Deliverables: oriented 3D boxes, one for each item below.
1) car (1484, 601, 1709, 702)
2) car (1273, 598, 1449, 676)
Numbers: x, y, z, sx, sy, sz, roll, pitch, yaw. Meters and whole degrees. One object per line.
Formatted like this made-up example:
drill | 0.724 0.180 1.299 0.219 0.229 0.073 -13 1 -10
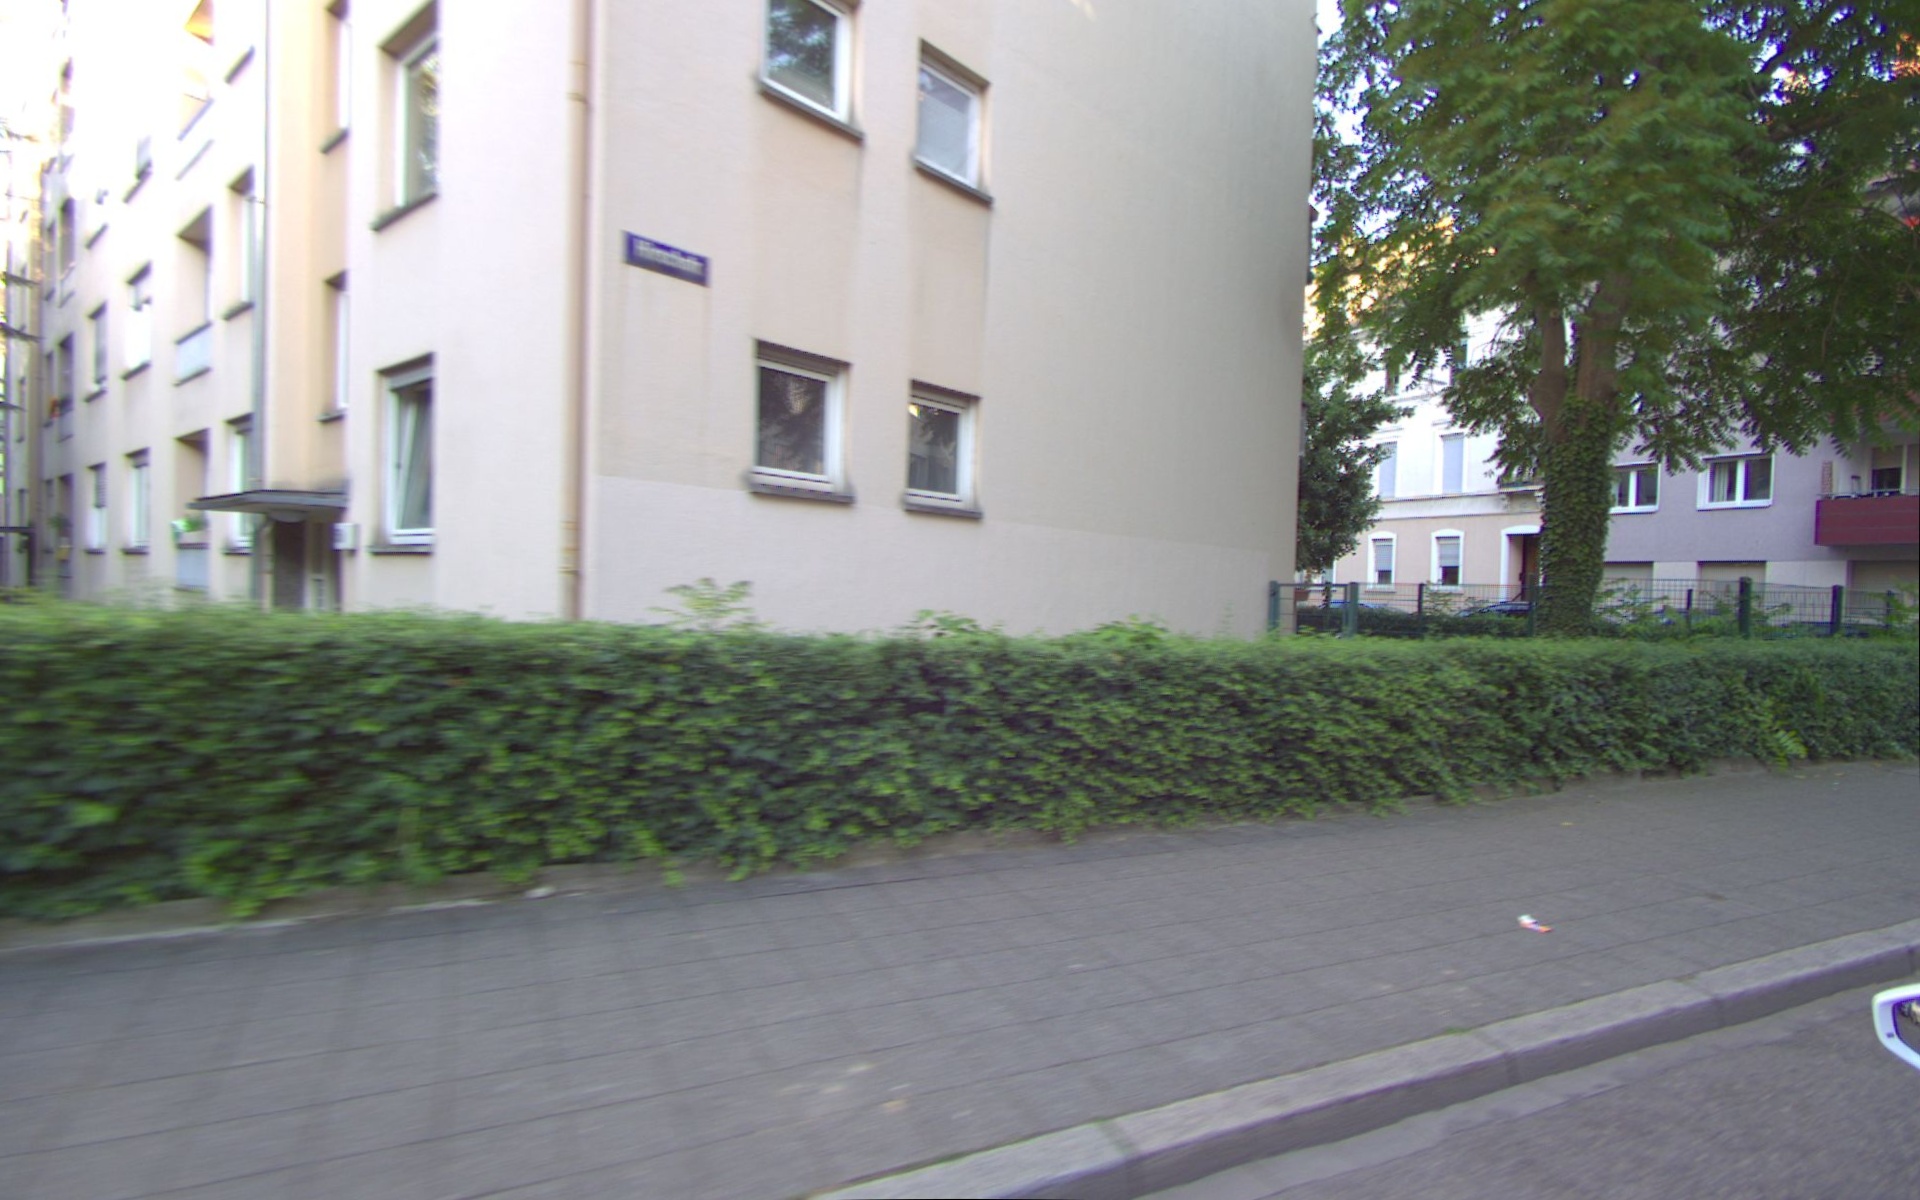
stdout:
car | 13.221 0.985 21.067 1.862 1.781 3.506 0 2 -28
car | 10.473 0.891 26.523 1.975 1.781 3.970 0 2 -28
